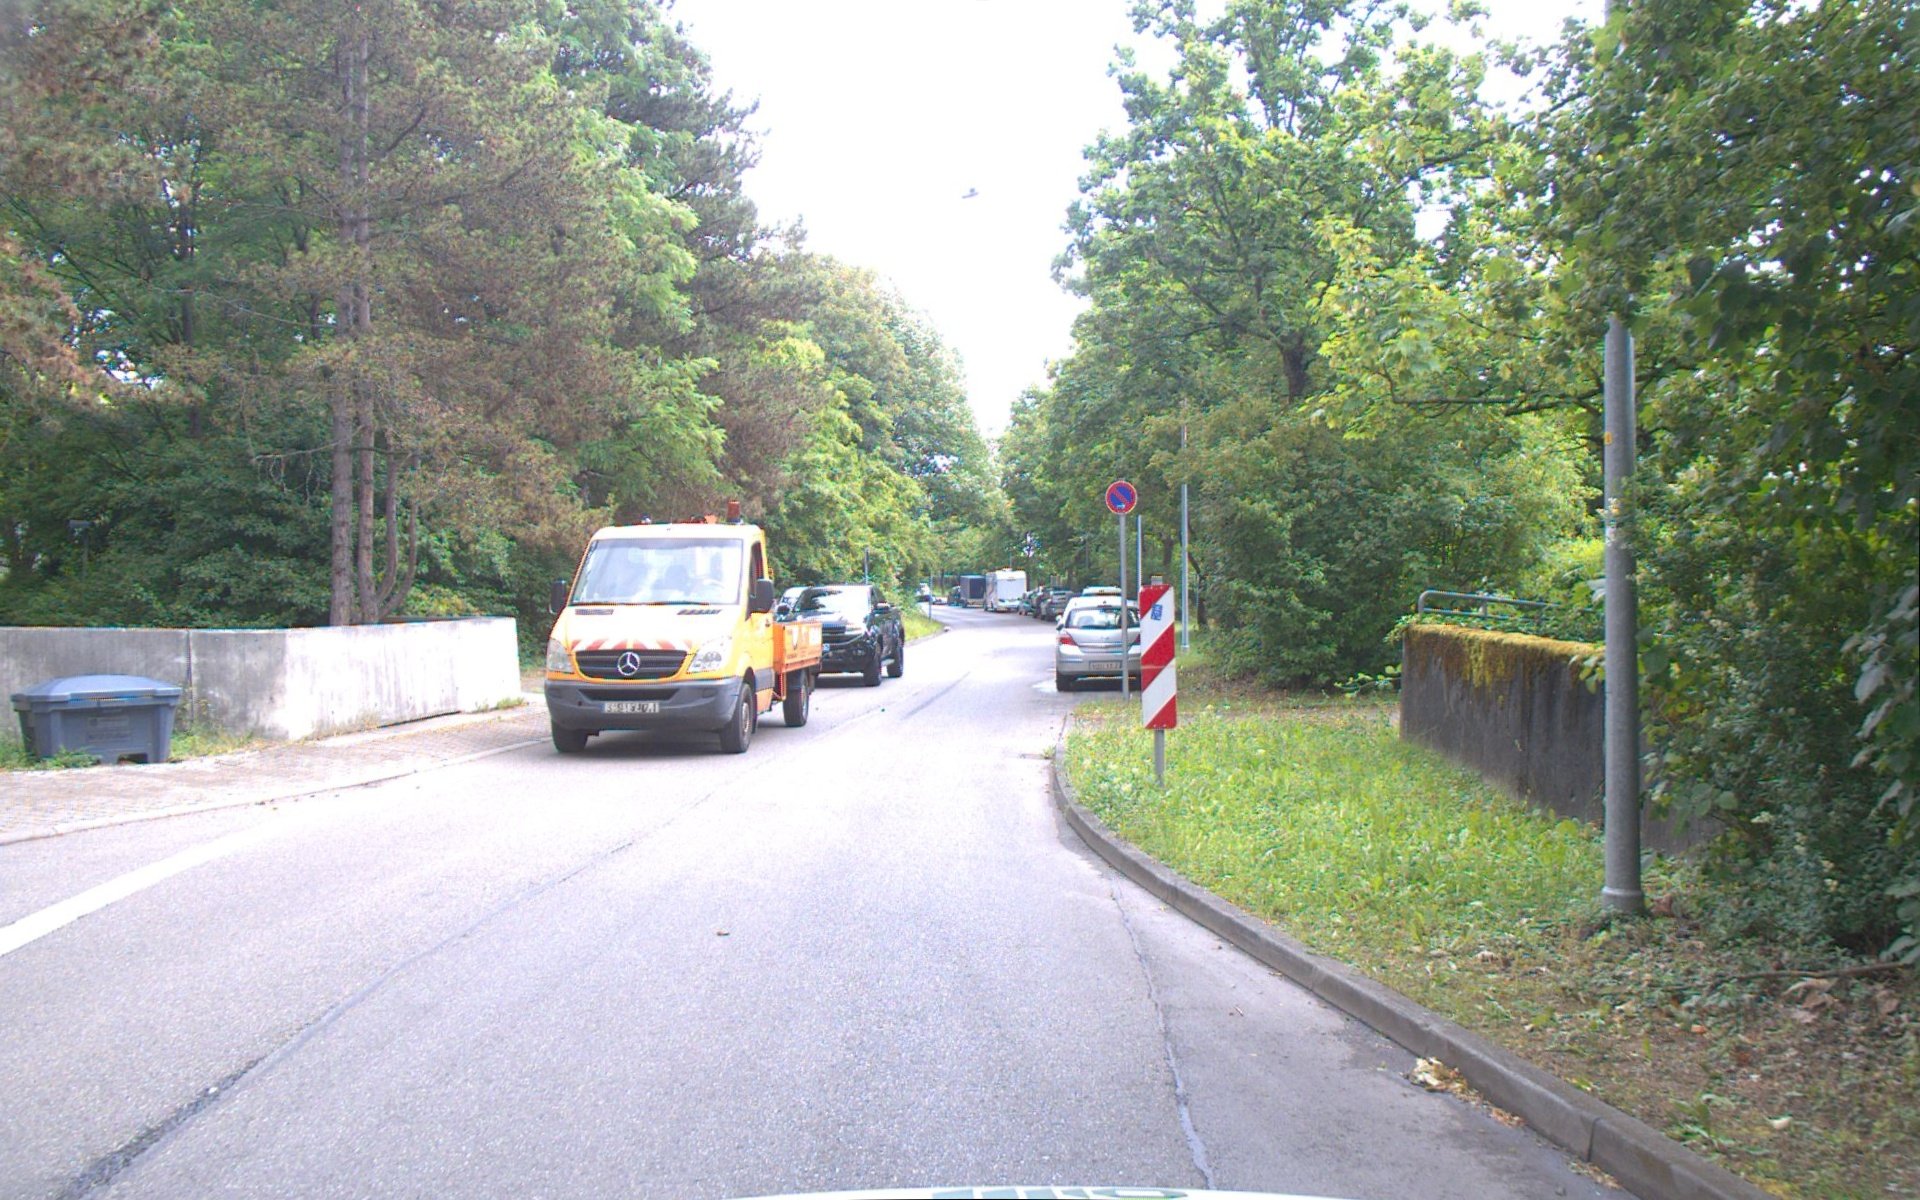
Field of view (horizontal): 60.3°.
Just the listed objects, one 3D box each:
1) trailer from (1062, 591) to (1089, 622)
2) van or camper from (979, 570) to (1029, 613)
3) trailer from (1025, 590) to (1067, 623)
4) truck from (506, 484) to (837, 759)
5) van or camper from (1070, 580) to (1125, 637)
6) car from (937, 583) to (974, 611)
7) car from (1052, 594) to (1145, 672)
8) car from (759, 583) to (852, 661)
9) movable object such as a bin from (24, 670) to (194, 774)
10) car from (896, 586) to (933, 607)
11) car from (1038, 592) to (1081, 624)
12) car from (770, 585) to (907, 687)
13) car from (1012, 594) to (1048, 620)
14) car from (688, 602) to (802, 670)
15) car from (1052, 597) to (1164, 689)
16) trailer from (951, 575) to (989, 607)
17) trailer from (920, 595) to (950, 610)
[{"bbox_3d":[6.086,0.346,87.427,1.252,1.613,2.460,-1,0,0],"label":"trailer"},{"bbox_3d":[3.133,-0.610,119.671,2.435,2.926,6.877,-1,0,-8],"label":"van or camper"},{"bbox_3d":[5.153,0.339,99.893,1.940,1.843,5.145,-2,1,-3],"label":"trailer"},{"bbox_3d":[-2.921,0.169,18.421,2.274,2.513,6.023,1,0,3],"label":"truck"},{"bbox_3d":[4.748,0.336,57.436,1.764,1.870,4.322,-1,-1,3],"label":"van or camper"},{"bbox_3d":[-0.385,-0.236,135.587,1.962,2.060,3.982,-4,3,-16],"label":"car"},{"bbox_3d":[2.961,0.669,35.989,1.846,1.533,5.178,-1,0,4],"label":"car"},{"bbox_3d":[-4.088,0.542,44.386,1.684,1.955,4.107,1,1,6],"label":"car"},{"bbox_3d":[-7.041,0.989,13.678,1.133,0.773,1.037,2,-2,-34],"label":"movable object such as a bin"},{"bbox_3d":[-4.105,-0.352,148.437,2.006,1.835,4.057,-2,1,-21],"label":"car"},{"bbox_3d":[5.582,0.497,93.651,1.757,1.699,4.497,-1,-1,-5],"label":"car"},{"bbox_3d":[-2.212,0.635,31.572,1.952,1.766,5.338,-1,0,3],"label":"car"},{"bbox_3d":[4.607,0.422,109.249,1.765,1.589,3.831,-2,1,-6],"label":"car"},{"bbox_3d":[-4.842,0.781,37.803,1.768,1.427,4.374,1,0,3],"label":"car"},{"bbox_3d":[2.555,0.693,28.551,1.755,1.435,4.062,-1,0,5],"label":"car"},{"bbox_3d":[0.737,-0.705,130.203,1.961,2.440,3.983,-1,0,-16],"label":"trailer"},{"bbox_3d":[-2.140,0.195,139.348,1.624,1.105,3.986,-3,1,-13],"label":"trailer"}]
